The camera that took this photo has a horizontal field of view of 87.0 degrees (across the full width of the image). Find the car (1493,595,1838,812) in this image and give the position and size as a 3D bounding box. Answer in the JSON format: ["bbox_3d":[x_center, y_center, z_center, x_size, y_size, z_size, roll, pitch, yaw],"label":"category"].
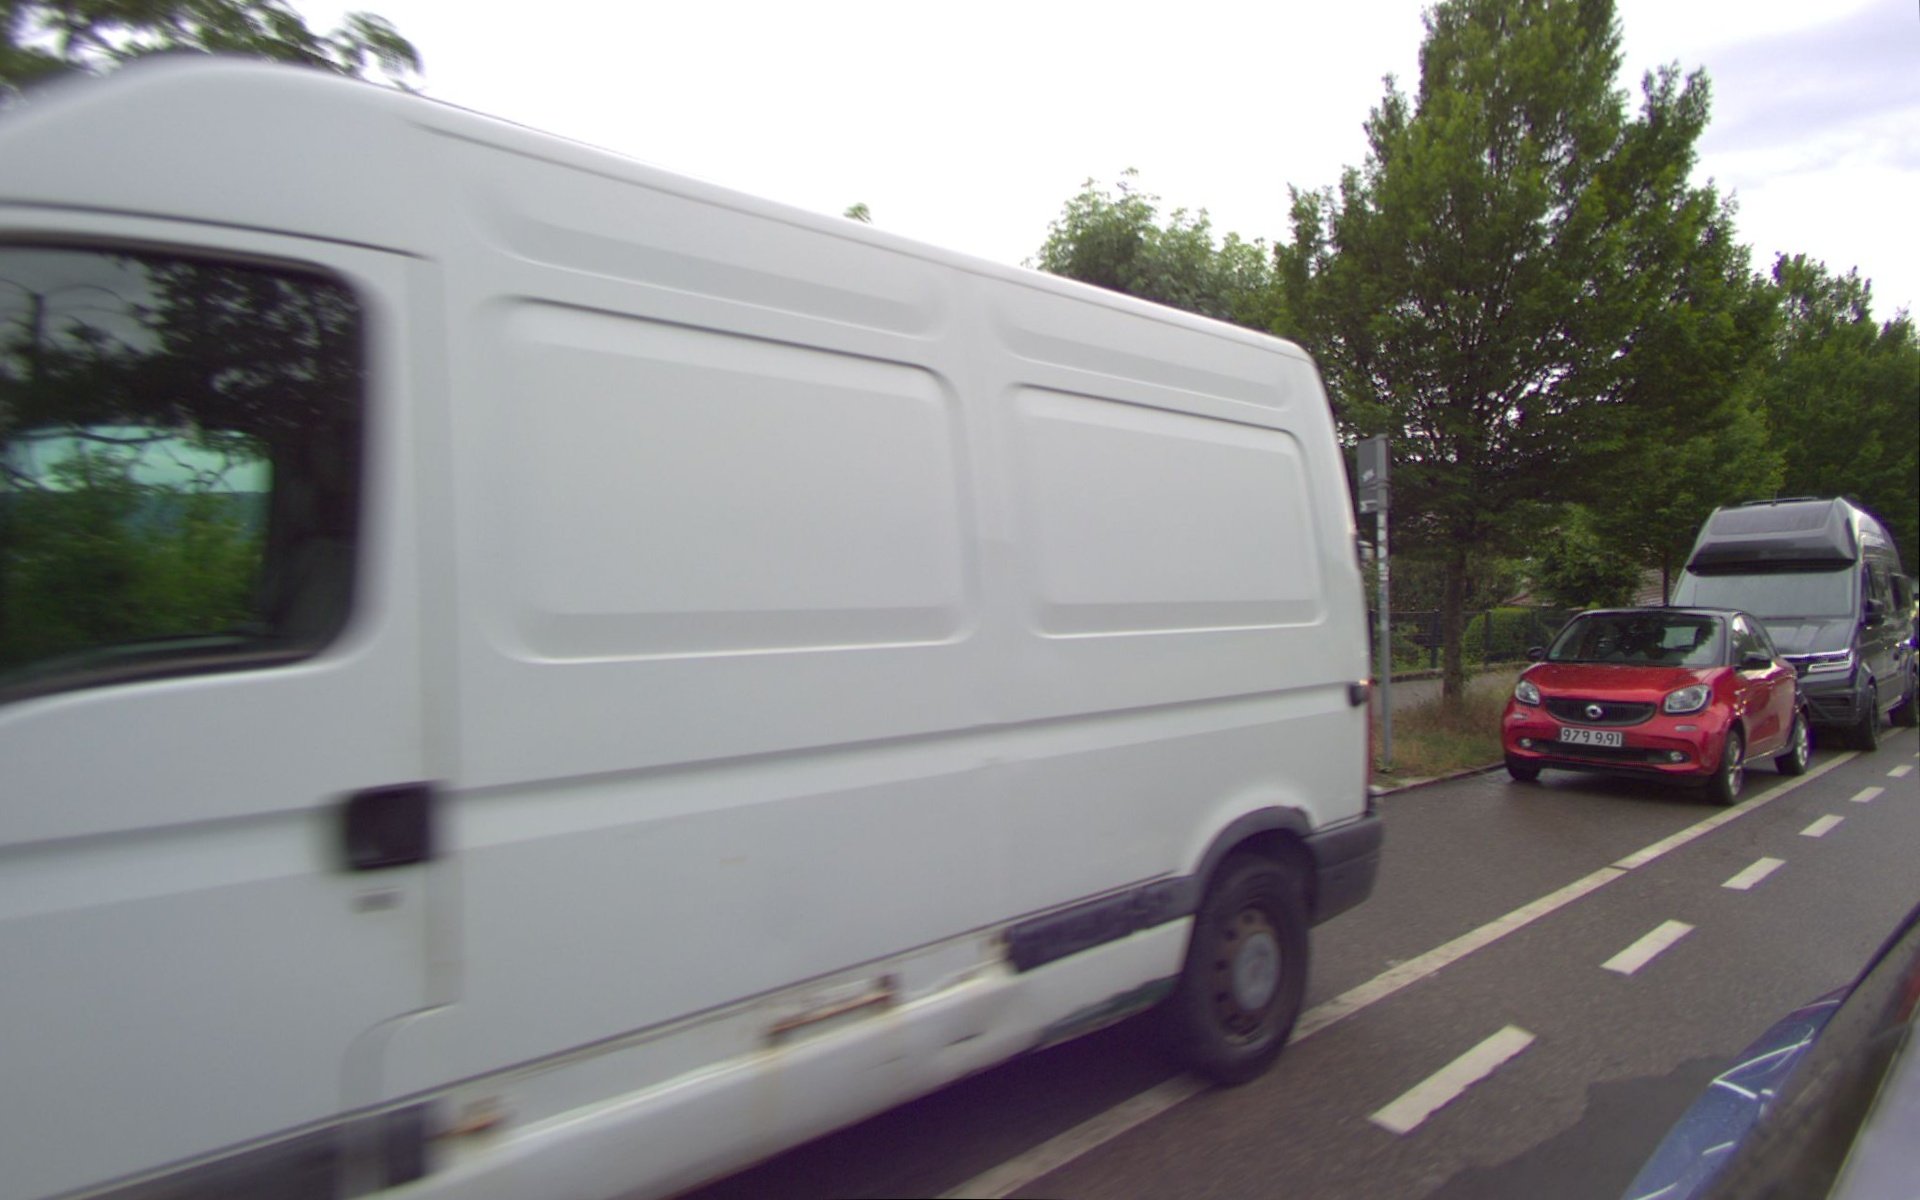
[{"bbox_3d":[6.511,0.750,9.196,3.765,1.559,1.685,0,0,-41],"label":"car"}]

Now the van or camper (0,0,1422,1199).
[{"bbox_3d":[-1.057,0.069,2.765,5.496,2.695,2.078,0,0,-40],"label":"van or camper"}]

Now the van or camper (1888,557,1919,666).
[{"bbox_3d":[25.162,0.271,25.320,5.516,2.588,2.168,0,-1,-40],"label":"van or camper"}]

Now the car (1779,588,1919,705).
[{"bbox_3d":[15.636,0.720,17.243,4.323,1.771,1.724,0,-1,-39],"label":"car"}]

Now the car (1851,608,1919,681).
[{"bbox_3d":[19.971,0.873,20.949,4.326,1.392,1.723,0,-1,-41],"label":"car"}]

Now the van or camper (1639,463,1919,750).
[{"bbox_3d":[10.907,0.073,13.027,5.625,2.947,2.128,0,-1,-40],"label":"van or camper"}]
